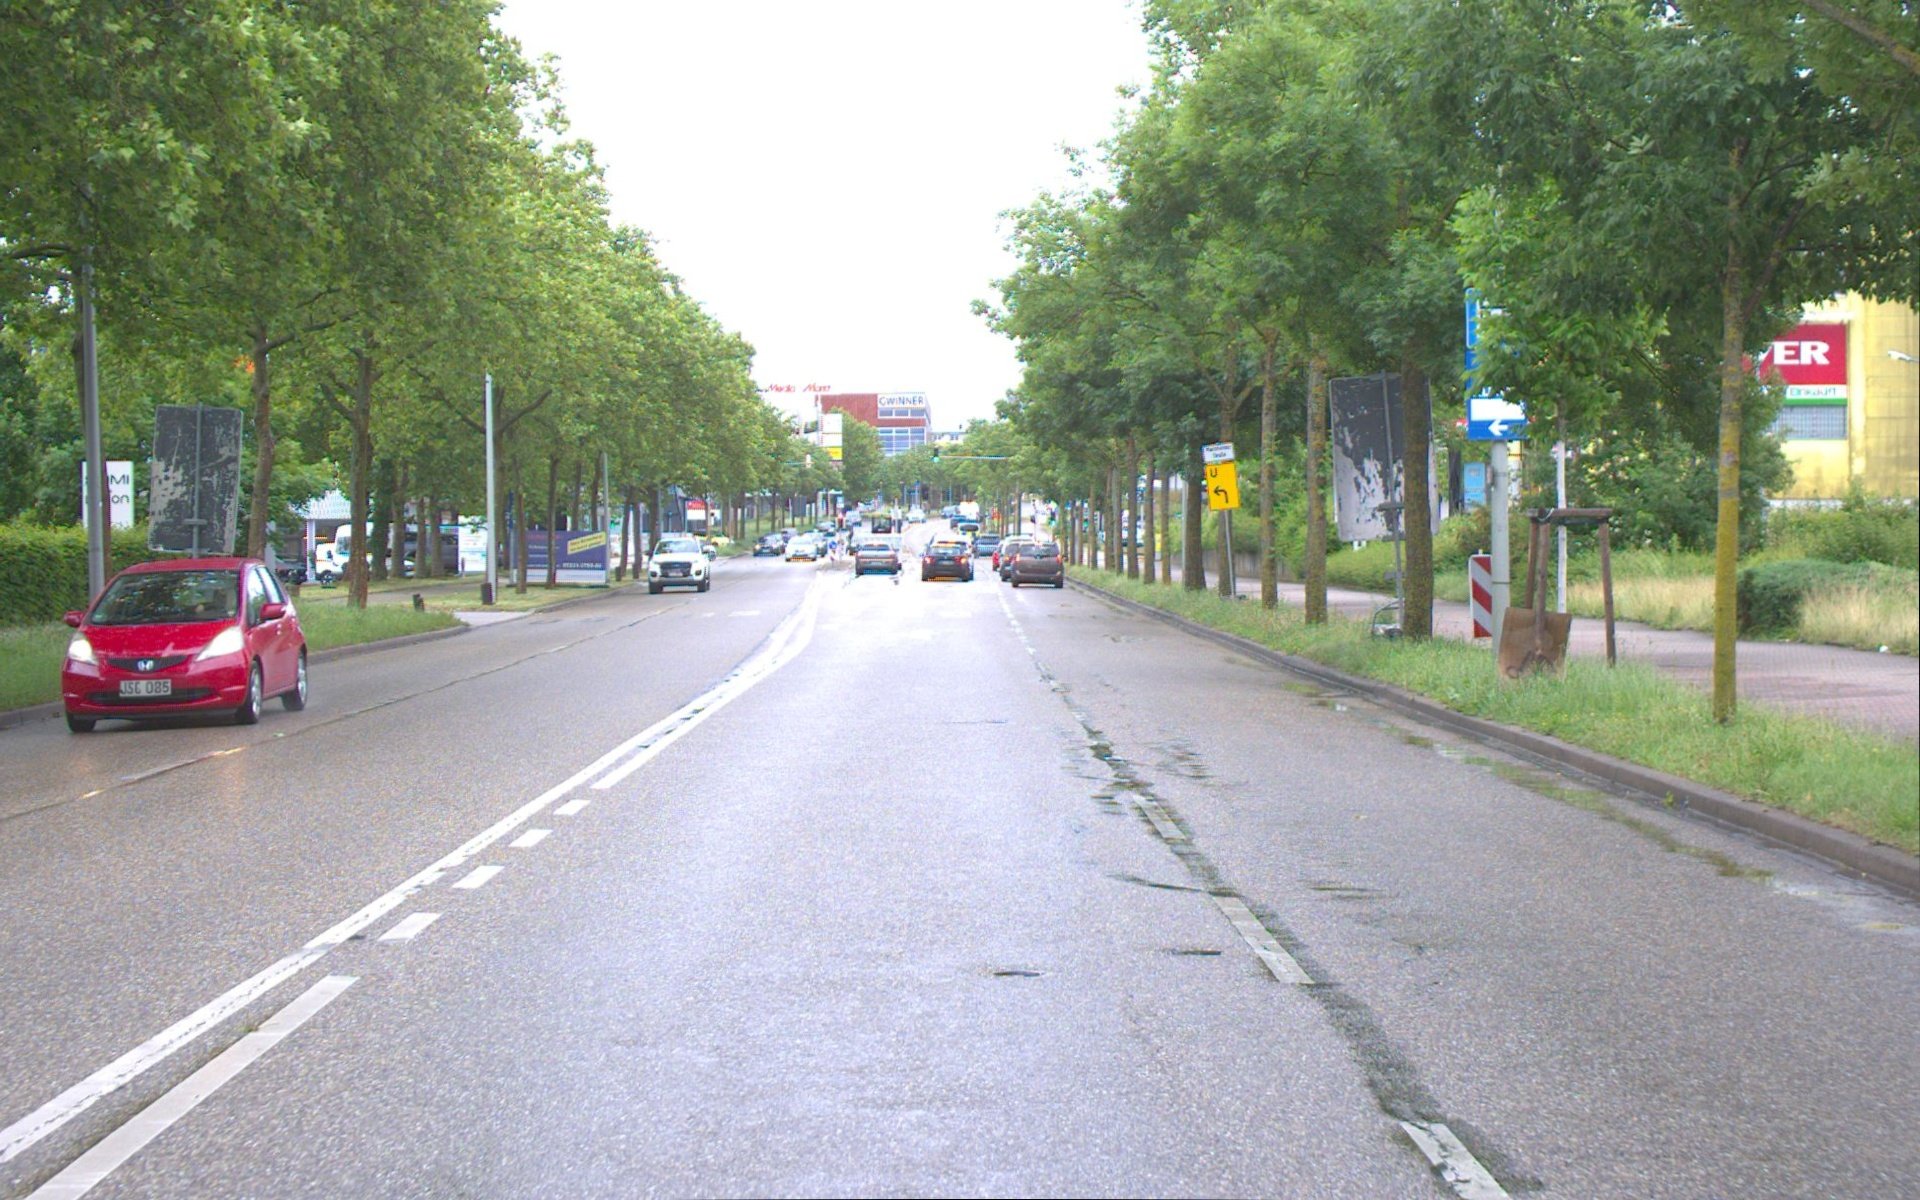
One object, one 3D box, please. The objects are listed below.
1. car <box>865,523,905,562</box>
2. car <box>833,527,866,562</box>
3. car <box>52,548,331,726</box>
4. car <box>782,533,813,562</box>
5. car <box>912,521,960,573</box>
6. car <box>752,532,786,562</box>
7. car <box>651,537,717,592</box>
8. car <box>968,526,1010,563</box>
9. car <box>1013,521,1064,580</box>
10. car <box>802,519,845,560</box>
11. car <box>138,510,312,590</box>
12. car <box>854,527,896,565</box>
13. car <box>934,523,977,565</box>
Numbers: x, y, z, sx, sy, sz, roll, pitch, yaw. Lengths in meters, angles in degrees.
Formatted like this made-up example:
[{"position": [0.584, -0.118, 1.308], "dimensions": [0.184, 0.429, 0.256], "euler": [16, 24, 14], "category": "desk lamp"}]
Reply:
[{"position": [-3.752, -2.899, 172.492], "dimensions": [1.891, 1.870, 4.124], "euler": [-1, 1, 0], "category": "car"}, {"position": [-6.424, -3.229, 199.646], "dimensions": [1.826, 2.007, 4.001], "euler": [-1, 1, -2], "category": "car"}, {"position": [-7.085, 0.295, 32.047], "dimensions": [1.726, 1.512, 3.821], "euler": [-1, 1, 0], "category": "car"}, {"position": [-9.885, -3.208, 209.849], "dimensions": [1.826, 1.722, 4.001], "euler": [-1, 1, -2], "category": "car"}, {"position": [-0.941, -2.094, 135.190], "dimensions": [1.745, 2.007, 4.000], "euler": [-1, 1, 1], "category": "car"}, {"position": [-13.133, -3.647, 236.895], "dimensions": [2.216, 2.007, 4.001], "euler": [-1, 1, -2], "category": "car"}, {"position": [-9.107, -1.196, 113.626], "dimensions": [1.704, 1.731, 4.000], "euler": [-1, 1, 2], "category": "car"}, {"position": [1.444, -2.808, 173.982], "dimensions": [1.993, 1.787, 4.000], "euler": [-1, 1, -1], "category": "car"}, {"position": [2.770, -1.746, 121.300], "dimensions": [1.745, 2.007, 4.000], "euler": [-1, 1, 1], "category": "car"}, {"position": [-6.762, -3.008, 170.842], "dimensions": [1.993, 2.007, 4.000], "euler": [-1, 1, -1], "category": "car"}, {"position": [-18.713, -1.268, 87.607], "dimensions": [3.987, 1.918, 1.826], "euler": [-1, 0, 0], "category": "car"}, {"position": [-3.897, -2.471, 157.857], "dimensions": [1.745, 1.695, 4.000], "euler": [-1, 1, 1], "category": "car"}, {"position": [-0.188, -2.419, 148.542], "dimensions": [1.745, 1.731, 4.000], "euler": [-1, 1, 1], "category": "car"}]
